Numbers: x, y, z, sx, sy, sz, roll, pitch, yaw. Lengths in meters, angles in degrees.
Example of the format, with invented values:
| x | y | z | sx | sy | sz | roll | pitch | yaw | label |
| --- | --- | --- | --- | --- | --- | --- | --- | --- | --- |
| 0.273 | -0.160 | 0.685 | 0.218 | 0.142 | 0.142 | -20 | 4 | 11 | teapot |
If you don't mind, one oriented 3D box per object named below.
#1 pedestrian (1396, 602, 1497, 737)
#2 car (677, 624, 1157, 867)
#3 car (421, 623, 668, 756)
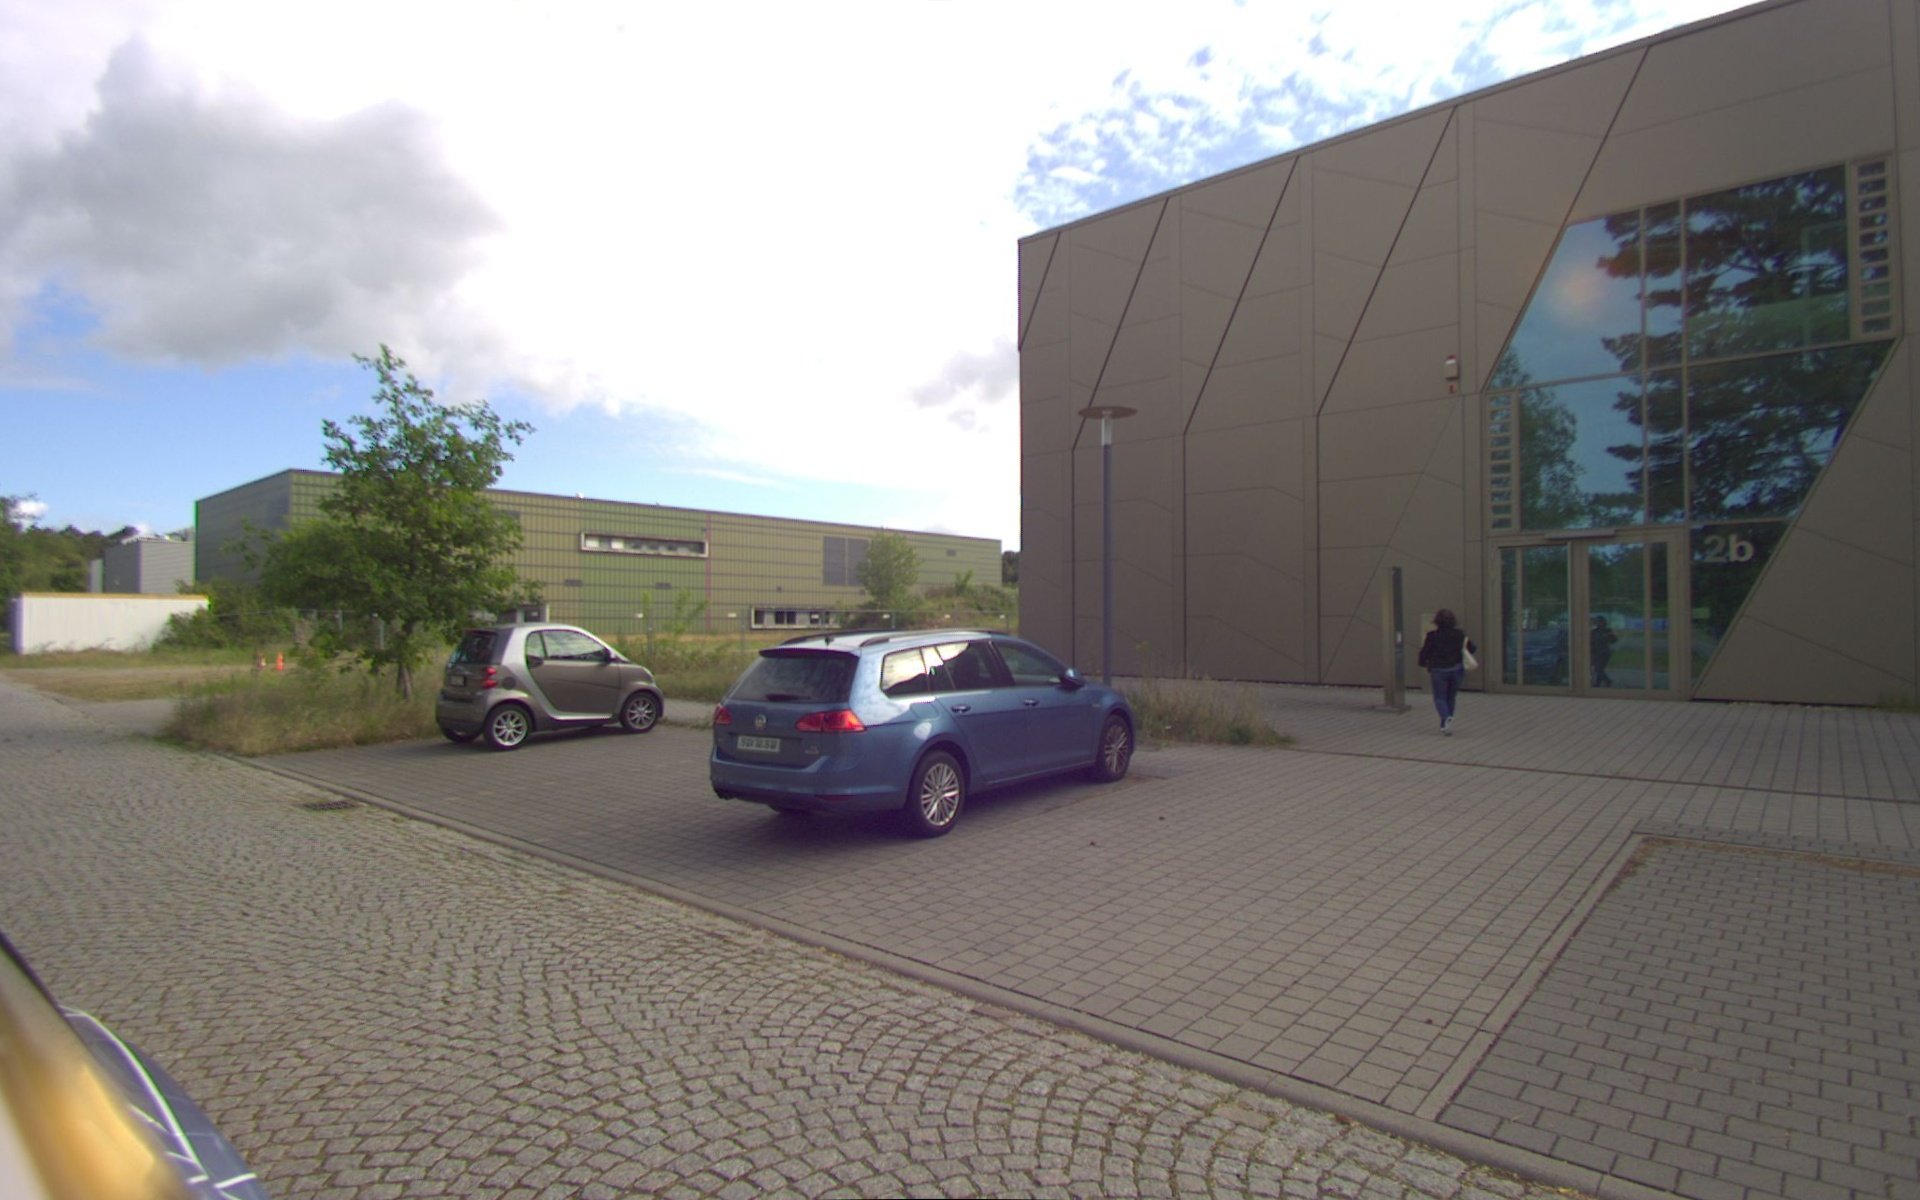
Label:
| x | y | z | sx | sy | sz | roll | pitch | yaw | label |
| --- | --- | --- | --- | --- | --- | --- | --- | --- | --- |
| 5.790 | 0.797 | 12.093 | 0.809 | 1.506 | 0.984 | -1 | 2 | 8 | pedestrian |
| -0.101 | 0.982 | 8.648 | 1.771 | 1.439 | 4.264 | -2 | -1 | 38 | car |
| -5.510 | 1.105 | 13.564 | 1.609 | 1.523 | 2.627 | -2 | -1 | 40 | car |
